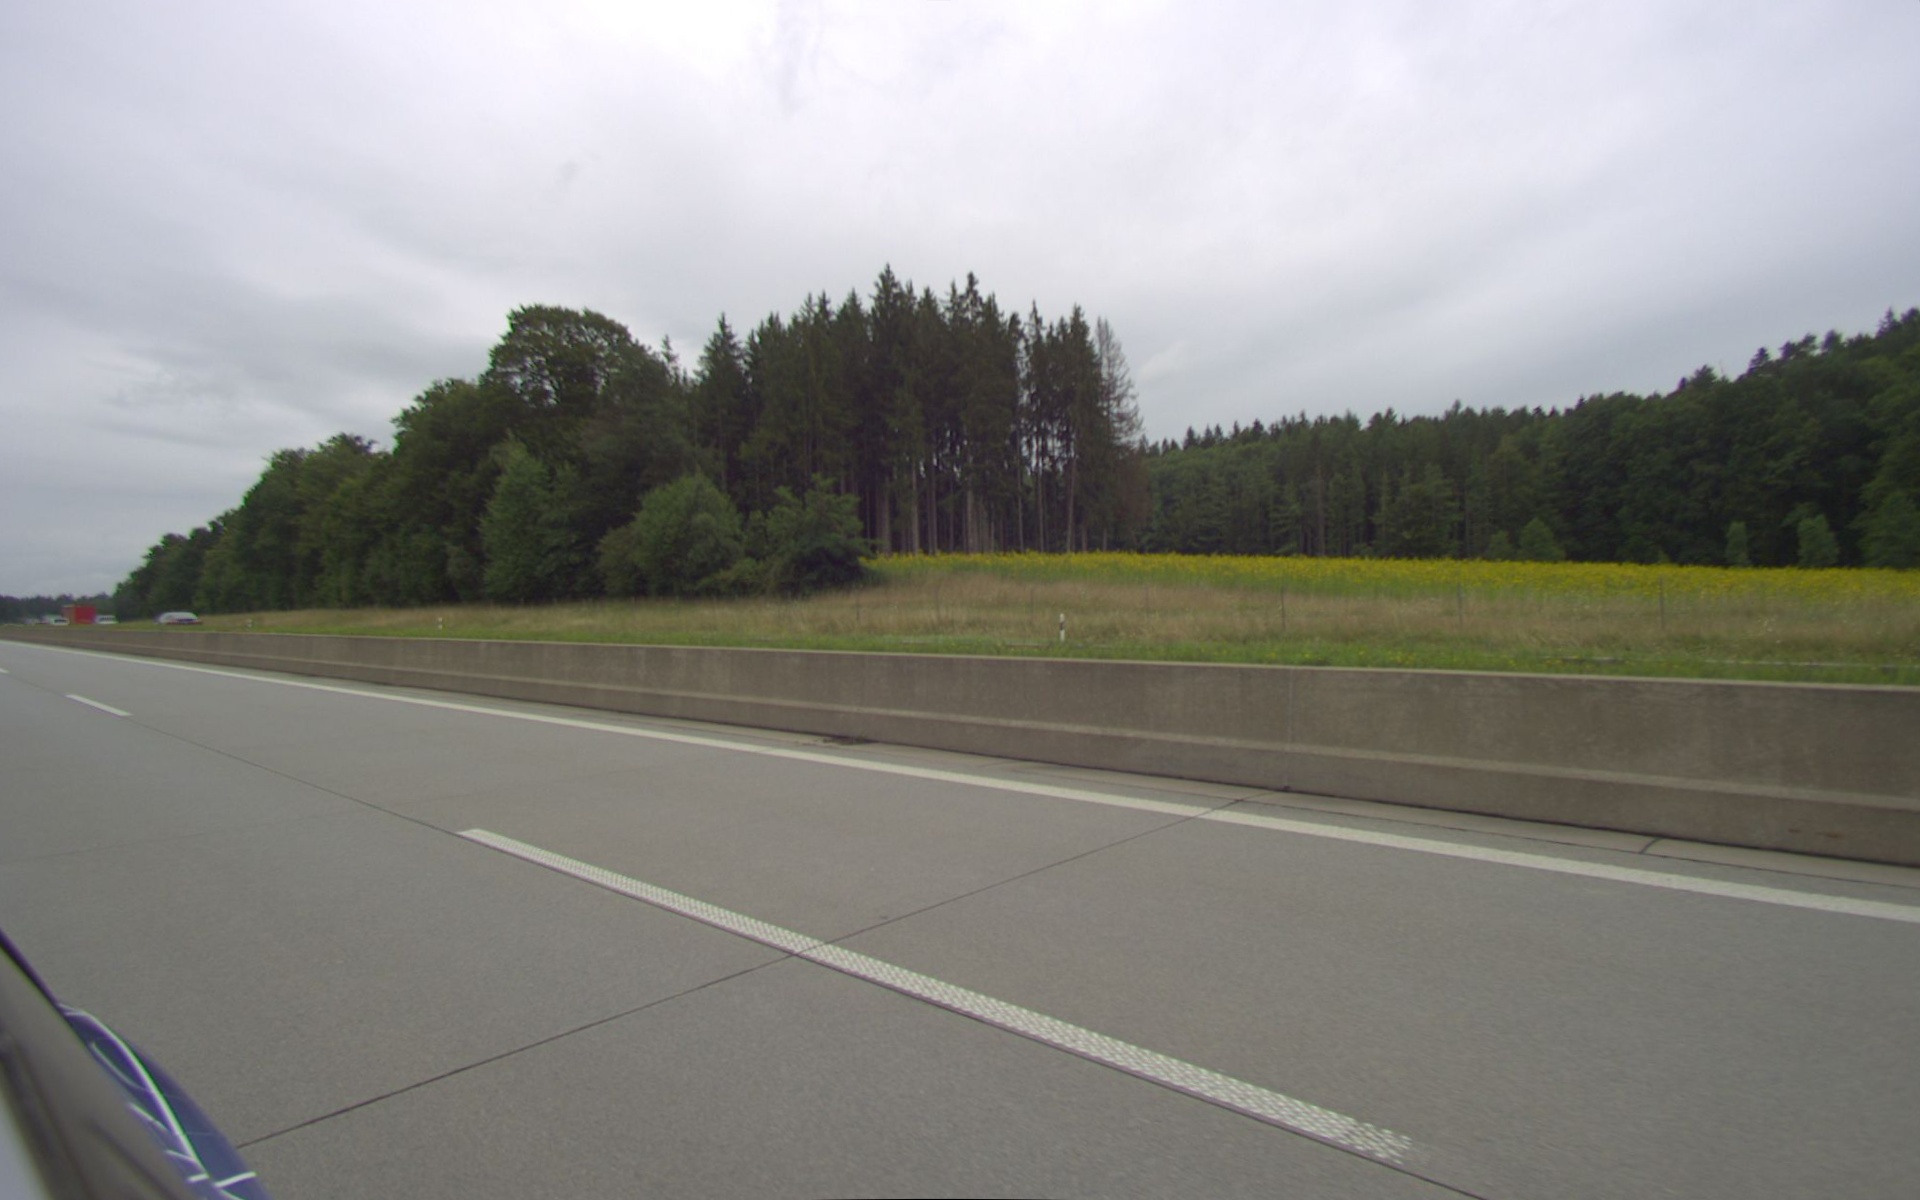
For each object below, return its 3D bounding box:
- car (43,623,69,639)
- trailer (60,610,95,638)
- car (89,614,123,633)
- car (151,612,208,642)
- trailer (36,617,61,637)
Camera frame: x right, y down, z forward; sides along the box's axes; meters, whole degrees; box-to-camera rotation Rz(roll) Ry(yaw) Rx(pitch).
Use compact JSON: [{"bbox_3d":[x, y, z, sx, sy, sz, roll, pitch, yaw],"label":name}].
[{"bbox_3d":[-120.521,4.124,134.907,5.623,1.970,1.973,-2,-1,41],"label":"car"},{"bbox_3d":[-135.888,3.744,155.782,14.379,3.974,2.579,-2,-1,43],"label":"trailer"},{"bbox_3d":[-85.792,2.387,101.650,4.390,1.814,1.972,-1,0,42],"label":"car"},{"bbox_3d":[-45.231,1.547,58.639,3.998,1.600,1.865,-1,0,41],"label":"car"},{"bbox_3d":[-173.379,5.163,192.434,9.013,3.728,2.773,-2,-1,44],"label":"trailer"}]
